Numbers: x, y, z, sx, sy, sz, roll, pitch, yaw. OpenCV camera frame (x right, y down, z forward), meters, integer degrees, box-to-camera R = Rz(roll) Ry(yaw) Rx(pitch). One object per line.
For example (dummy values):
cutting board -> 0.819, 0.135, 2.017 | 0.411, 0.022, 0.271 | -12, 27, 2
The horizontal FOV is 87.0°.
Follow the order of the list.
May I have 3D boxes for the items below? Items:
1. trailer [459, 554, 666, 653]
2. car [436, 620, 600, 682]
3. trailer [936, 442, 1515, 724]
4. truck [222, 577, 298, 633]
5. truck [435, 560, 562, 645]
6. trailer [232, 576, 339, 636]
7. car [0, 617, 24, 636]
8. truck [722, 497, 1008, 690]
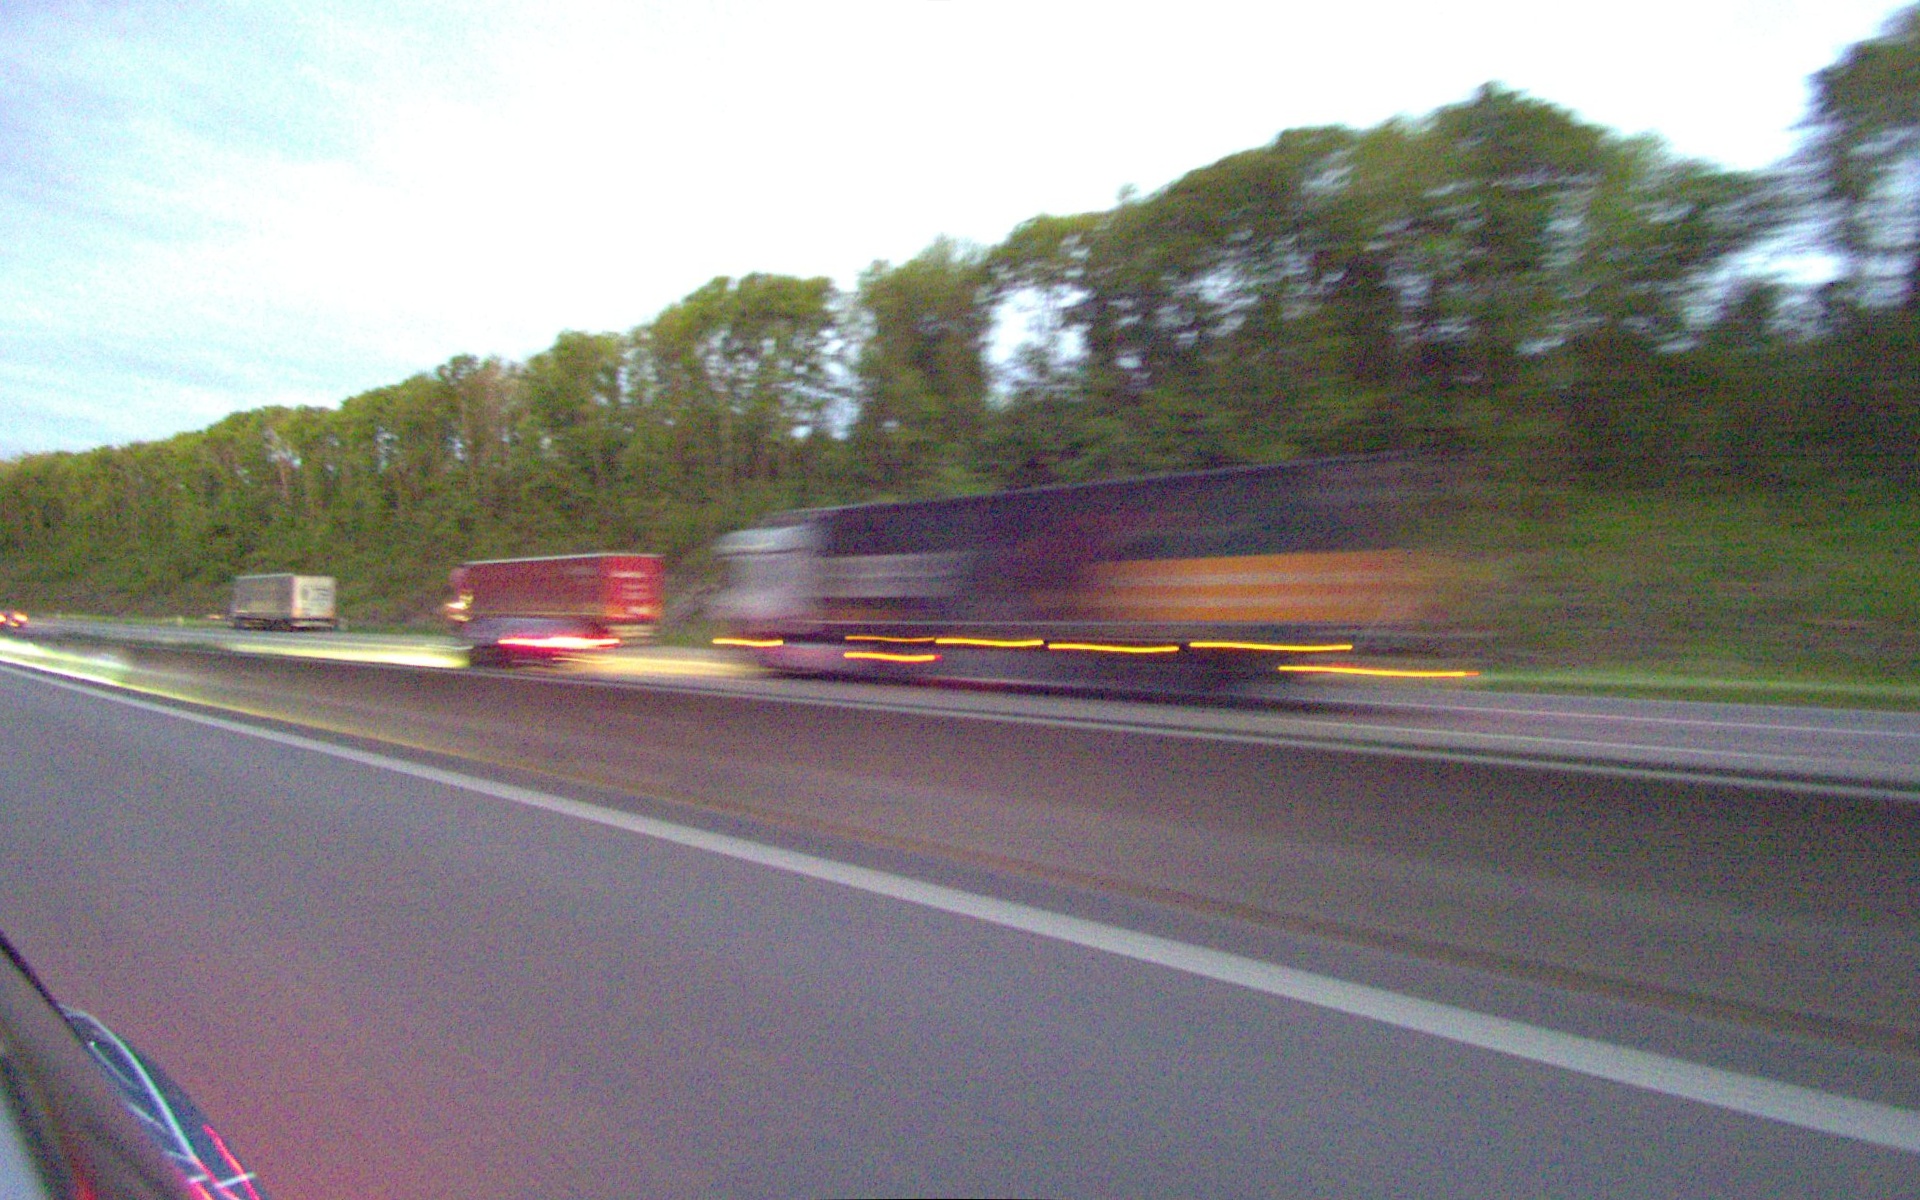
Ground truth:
trailer -> -19.384, 0.129, 48.423 | 14.178, 4.135, 3.157 | 0, 0, 42
car -> -11.803, 1.283, 26.824 | 5.351, 1.462, 1.890 | -1, -1, 41
trailer -> 4.187, -0.177, 18.549 | 10.180, 3.960, 2.619 | -1, -1, 41
truck -> -54.712, 0.369, 78.997 | 7.686, 4.135, 3.157 | 0, 0, 42
truck -> -24.041, 0.114, 52.553 | 7.686, 4.135, 3.157 | 0, 0, 42
trailer -> -50.110, 0.388, 74.955 | 13.733, 4.135, 3.158 | 0, 0, 41
car -> -79.008, 2.180, 83.850 | 4.411, 1.526, 1.669 | -1, -1, 40
truck -> -2.467, -0.095, 24.289 | 7.116, 4.002, 2.620 | -1, -1, 40
